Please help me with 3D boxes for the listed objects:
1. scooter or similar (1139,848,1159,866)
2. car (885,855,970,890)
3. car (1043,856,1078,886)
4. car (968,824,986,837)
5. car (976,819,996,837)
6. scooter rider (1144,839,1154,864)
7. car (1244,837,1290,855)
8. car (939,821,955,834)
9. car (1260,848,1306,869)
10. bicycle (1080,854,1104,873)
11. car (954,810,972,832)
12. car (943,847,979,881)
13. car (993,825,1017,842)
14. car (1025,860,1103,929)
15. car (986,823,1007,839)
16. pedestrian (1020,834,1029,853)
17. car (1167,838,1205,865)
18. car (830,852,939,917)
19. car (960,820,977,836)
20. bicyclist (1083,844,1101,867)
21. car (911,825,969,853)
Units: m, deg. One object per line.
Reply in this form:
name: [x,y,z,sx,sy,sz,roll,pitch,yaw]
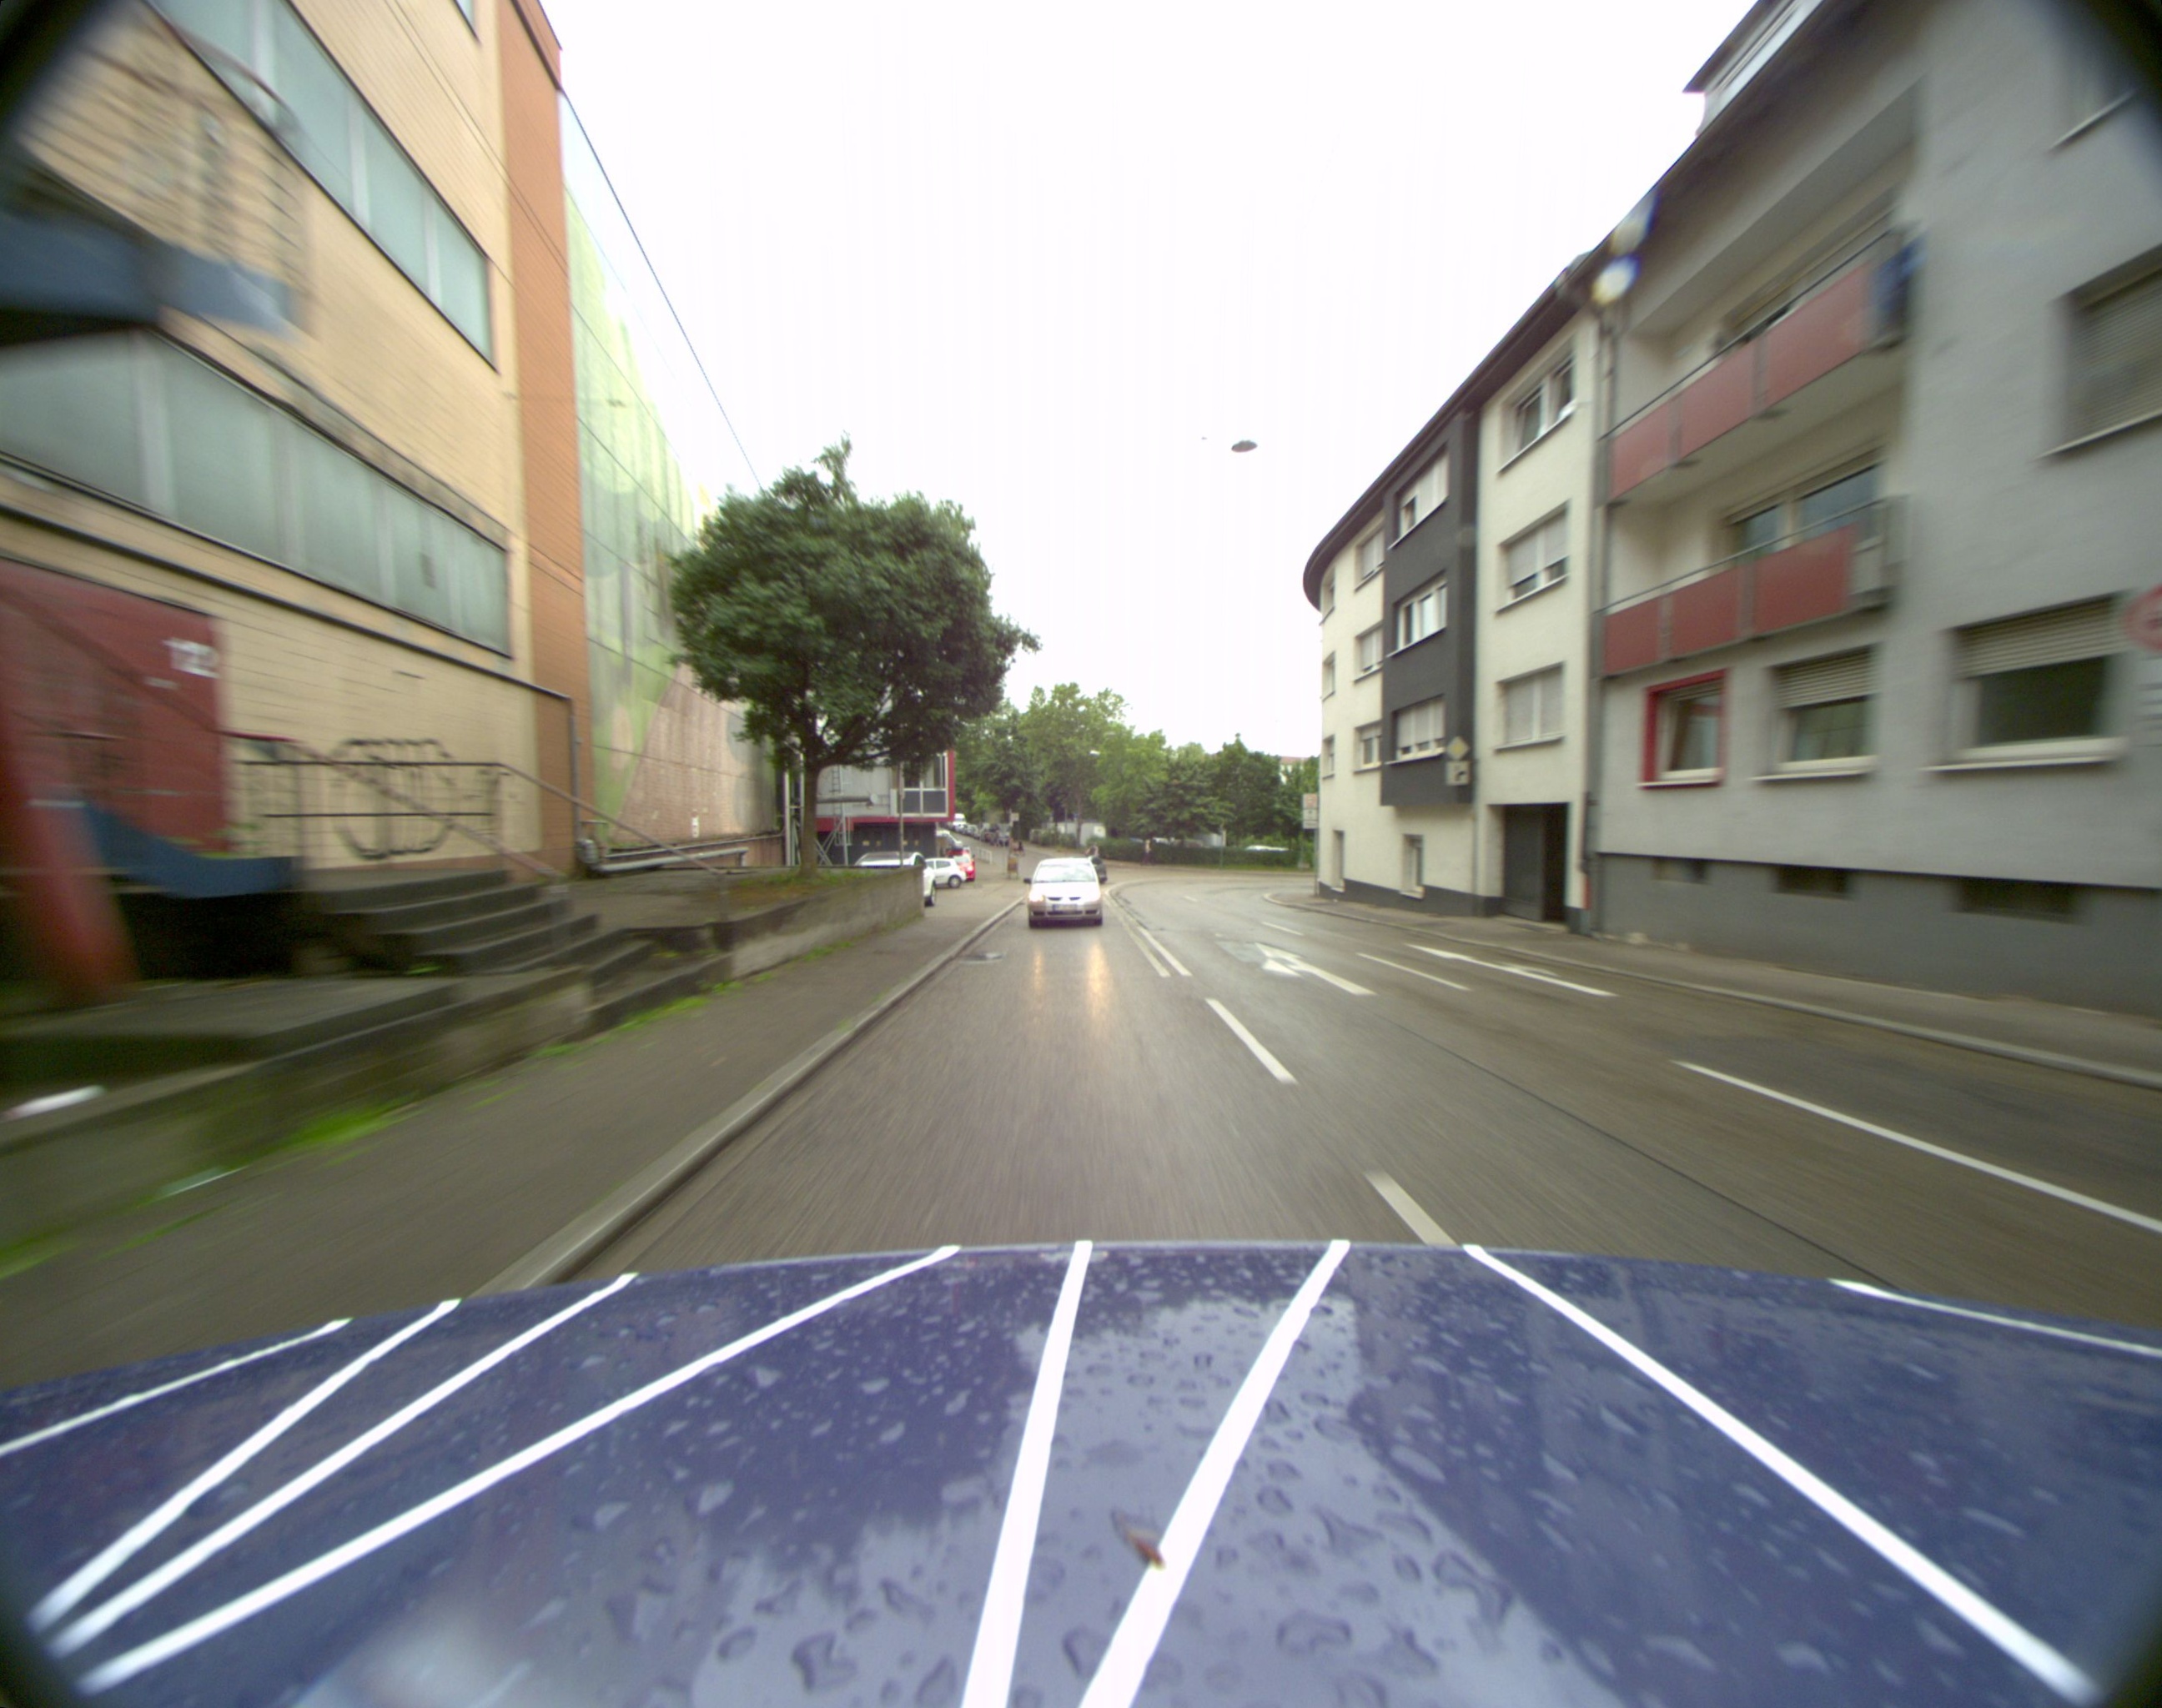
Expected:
scooter or similar: [5.091,0.227,56.878,1.407,1.315,0.804,1,3,4]
car: [-7.684,0.913,37.989,3.995,1.524,1.872,2,2,-14]
car: [-1.104,0.871,40.019,1.687,1.418,3.838,-2,-1,-3]
car: [-13.859,-3.168,101.498,1.910,1.642,3.992,-1,4,-15]
car: [-11.892,-3.247,95.063,1.910,2.064,3.992,-1,4,-15]
scooter rider: [5.088,-0.214,56.856,0.781,1.811,0.804,1,3,5]
car: [18.232,-0.767,74.620,4.005,1.502,1.796,2,2,-21]
car: [-21.812,-4.342,123.561,1.911,2.024,3.990,-1,4,-22]
car: [17.696,0.364,66.846,1.639,1.612,4.202,2,2,-23]
bicycle: [0.692,0.587,48.571,0.886,1.181,2.136,1,1,19]
car: [-17.950,-4.986,115.096,2.224,3.265,5.070,-1,4,-15]
car: [-6.961,0.526,43.787,1.933,1.702,4.486,0,2,-10]
car: [-8.165,-2.216,81.526,1.910,1.642,3.992,-1,4,-15]
car: [-0.432,0.930,19.080,1.687,1.496,3.838,-3,0,-2]
car: [-9.844,-2.682,88.196,1.910,1.642,3.992,-1,4,-15]
pedestrian: [-4.893,-0.932,66.061,0.704,1.559,0.621,-1,5,-12]
car: [8.686,-0.239,63.083,1.638,1.949,4.205,3,2,-12]
car: [-5.397,0.799,21.531,1.857,1.608,4.915,0,-1,-1]
car: [-15.890,-3.700,107.503,1.910,2.024,3.992,-1,4,-15]
bicyclist: [0.697,0.086,48.557,0.886,1.481,0.970,1,1,19]
car: [-12.270,-1.309,66.336,4.892,2.200,1.881,1,4,-7]
